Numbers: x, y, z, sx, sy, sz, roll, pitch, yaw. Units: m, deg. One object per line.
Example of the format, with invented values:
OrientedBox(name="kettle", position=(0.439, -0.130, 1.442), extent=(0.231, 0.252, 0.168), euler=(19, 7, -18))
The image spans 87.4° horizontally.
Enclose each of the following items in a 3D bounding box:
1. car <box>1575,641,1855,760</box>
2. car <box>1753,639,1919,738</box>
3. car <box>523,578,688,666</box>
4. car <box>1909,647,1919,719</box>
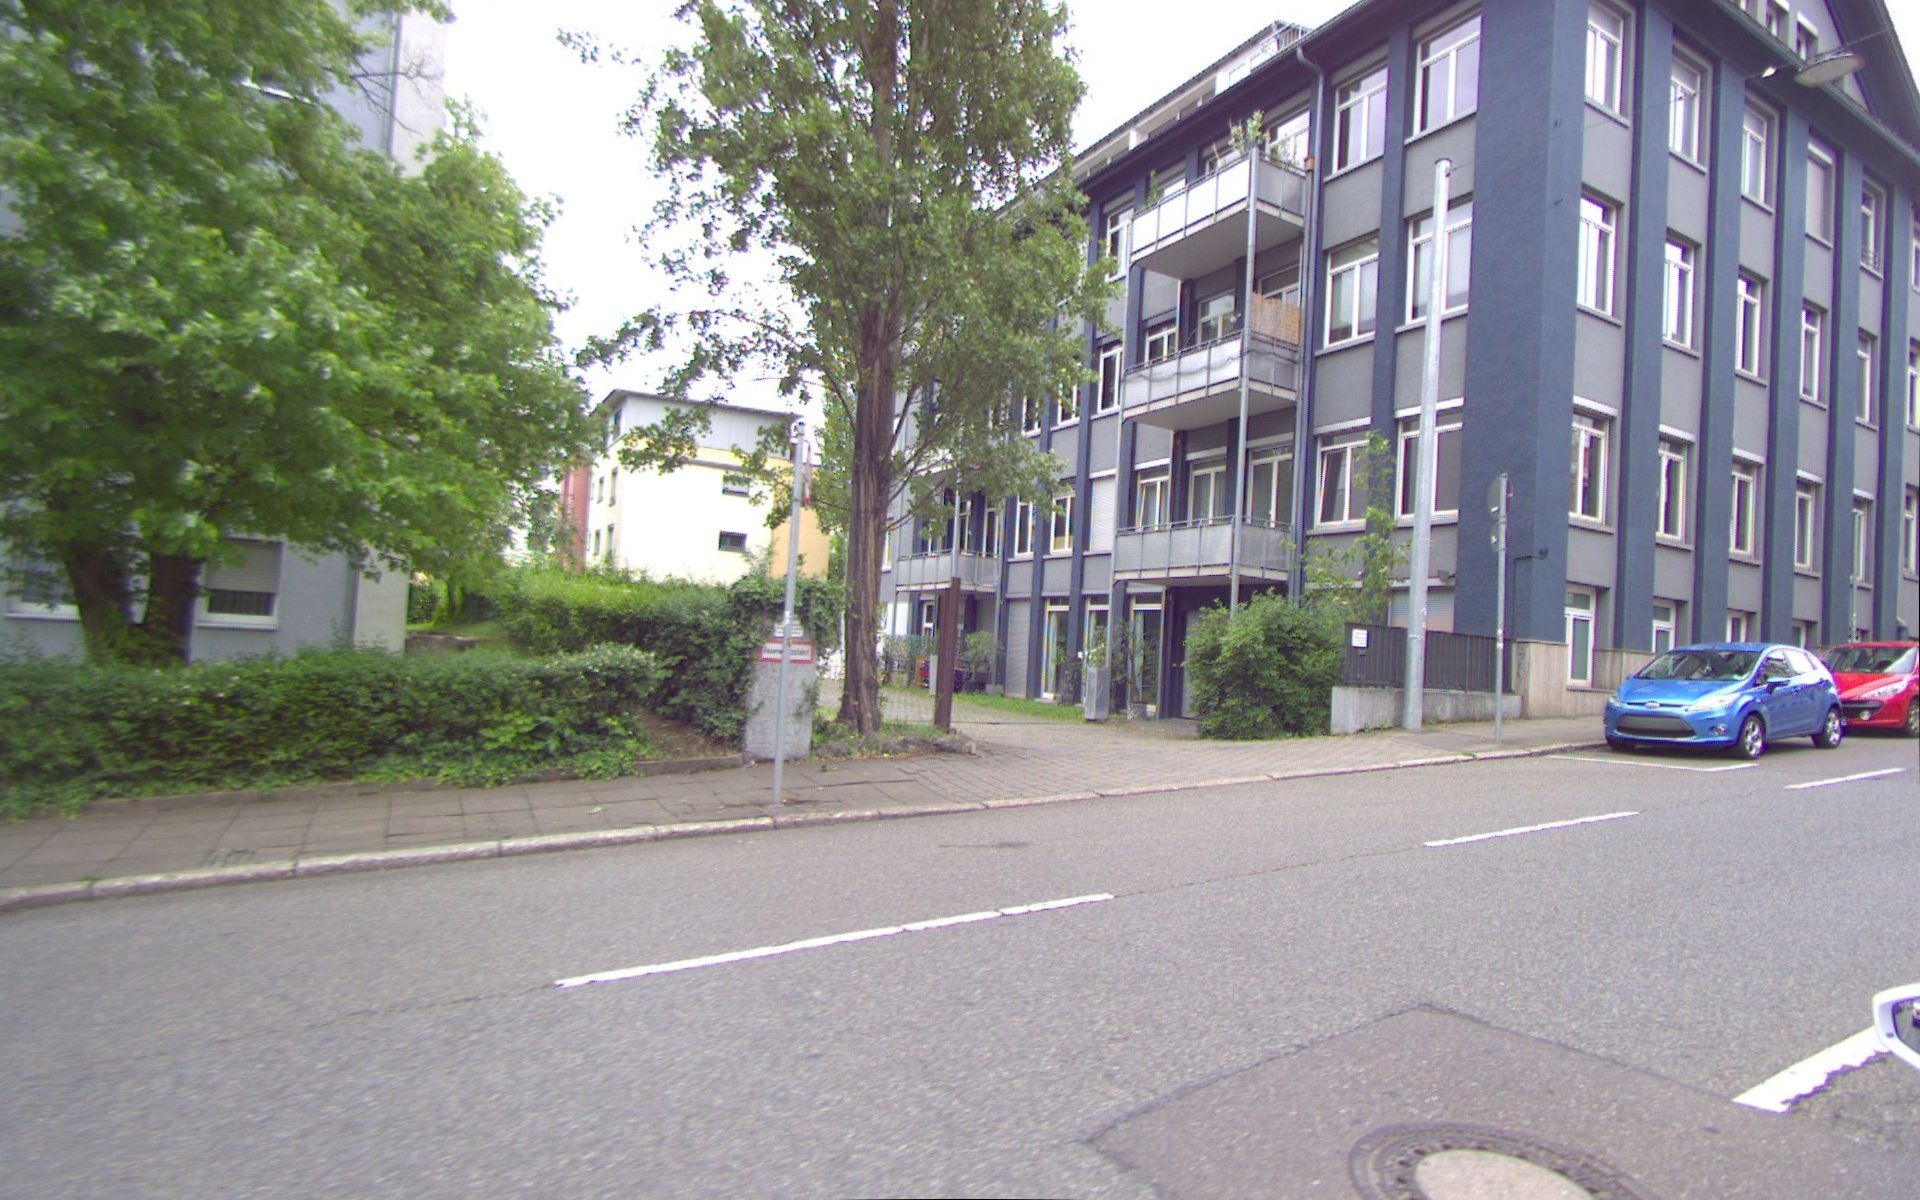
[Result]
OrientedBox(name="car", position=(10.521, 1.299, 13.957), extent=(3.942, 1.442, 1.706), euler=(1, -3, -30))
OrientedBox(name="car", position=(15.178, 1.402, 16.714), extent=(3.940, 1.475, 1.707), euler=(1, -3, -29))
OrientedBox(name="car", position=(-14.381, 0.922, 40.858), extent=(5.731, 2.916, 2.397), euler=(7, -3, -32))
OrientedBox(name="car", position=(20.175, 1.578, 19.361), extent=(3.858, 1.358, 1.706), euler=(2, -3, -30))
